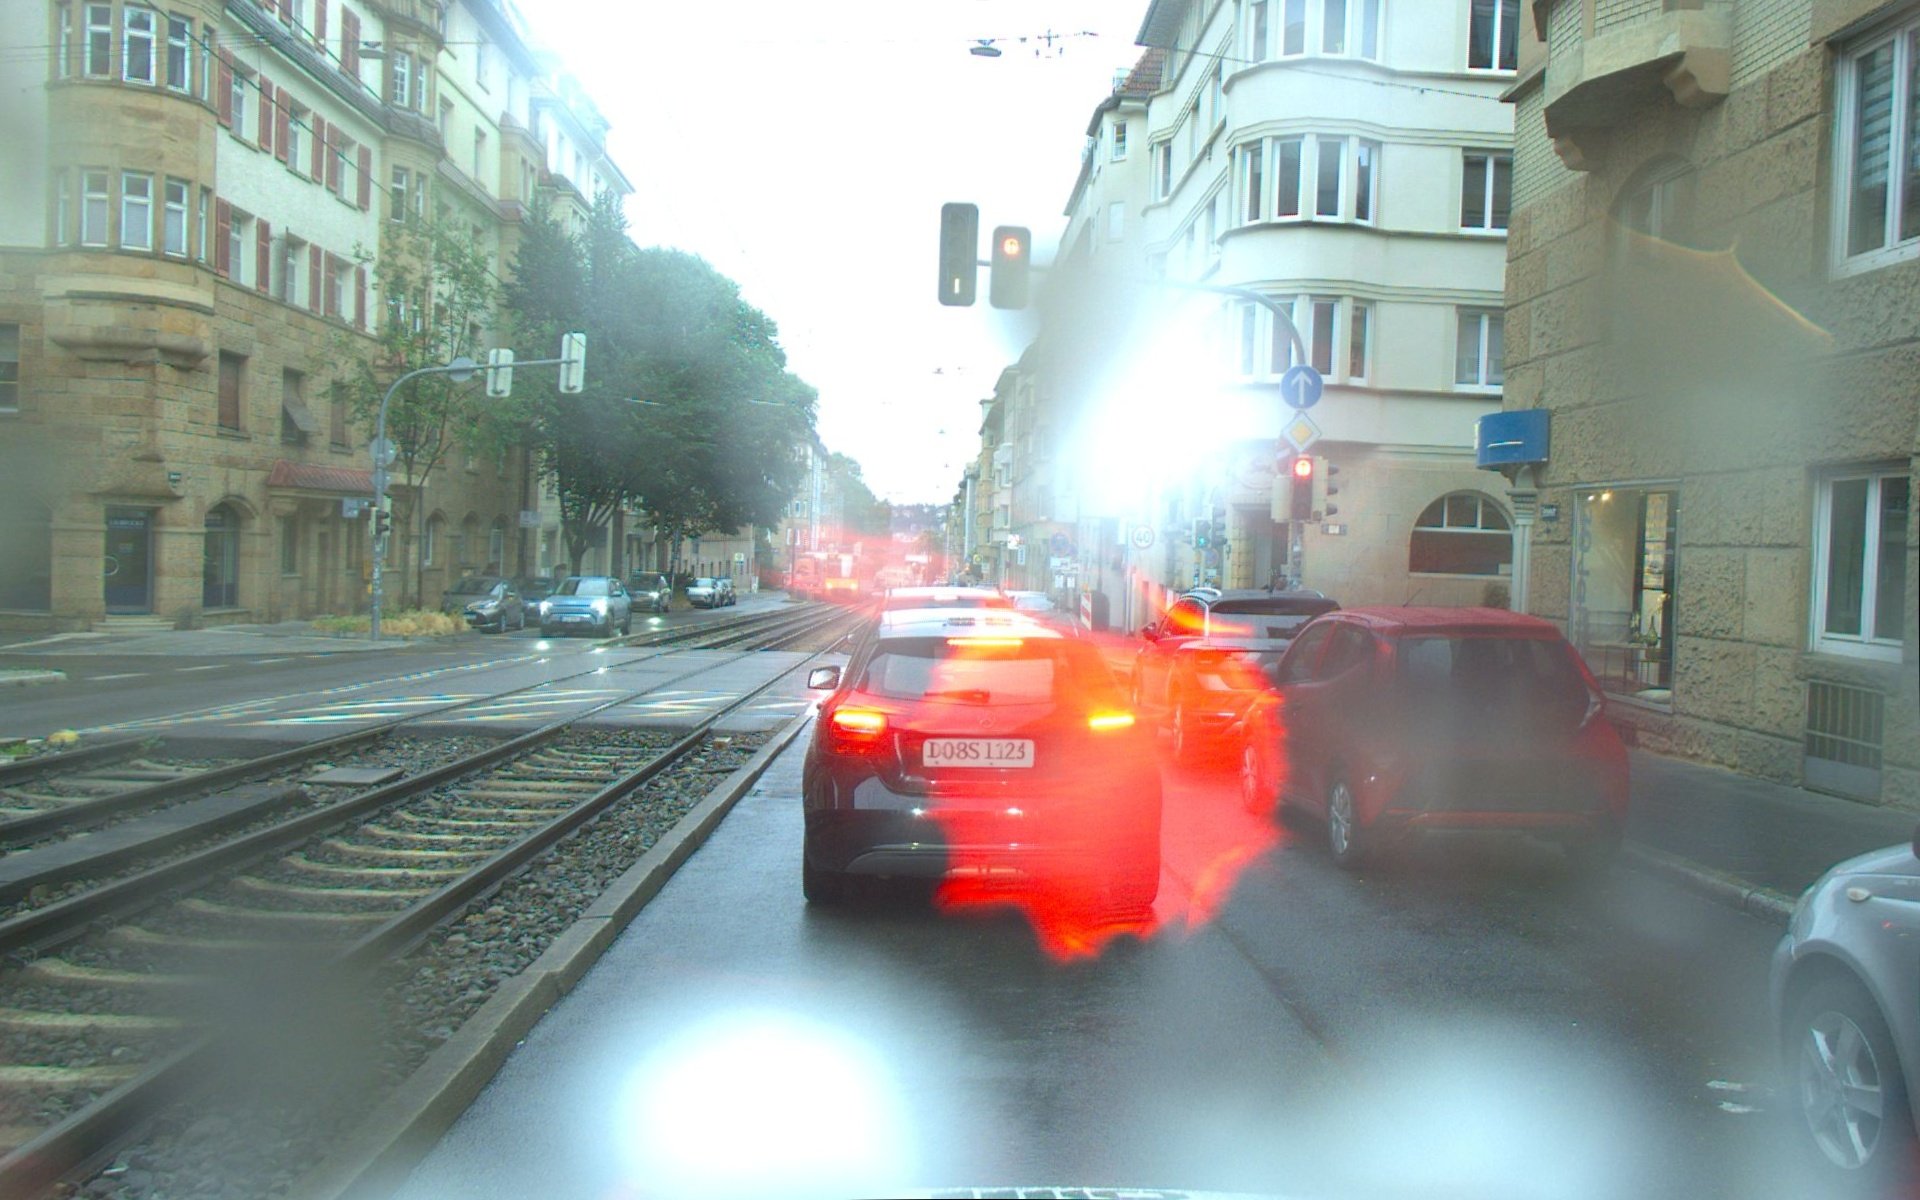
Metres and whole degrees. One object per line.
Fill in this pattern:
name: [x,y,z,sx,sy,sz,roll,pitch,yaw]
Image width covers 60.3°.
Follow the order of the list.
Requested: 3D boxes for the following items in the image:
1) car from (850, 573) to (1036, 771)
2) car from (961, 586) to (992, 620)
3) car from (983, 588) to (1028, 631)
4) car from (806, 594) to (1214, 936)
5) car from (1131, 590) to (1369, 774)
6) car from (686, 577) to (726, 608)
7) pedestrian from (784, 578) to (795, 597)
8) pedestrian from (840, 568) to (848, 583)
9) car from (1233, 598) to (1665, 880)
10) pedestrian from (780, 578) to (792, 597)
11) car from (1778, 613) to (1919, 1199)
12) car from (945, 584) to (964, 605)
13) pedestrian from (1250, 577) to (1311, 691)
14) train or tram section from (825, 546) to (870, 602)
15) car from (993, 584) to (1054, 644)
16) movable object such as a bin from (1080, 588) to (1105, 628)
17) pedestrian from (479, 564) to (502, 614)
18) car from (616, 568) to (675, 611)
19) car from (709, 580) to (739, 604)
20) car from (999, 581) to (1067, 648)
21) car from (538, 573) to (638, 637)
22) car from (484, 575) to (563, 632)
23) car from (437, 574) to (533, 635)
car: [-0.172,0.617,15.815,1.533,1.637,3.813,1,0,-1]
car: [0.726,0.131,73.586,1.268,1.467,2.928,1,0,-1]
car: [1.666,0.326,61.529,1.513,1.512,3.547,1,0,-1]
car: [0.195,0.733,9.431,1.792,1.483,4.103,1,0,-1]
car: [2.634,0.678,15.776,1.513,1.512,3.829,1,0,-1]
car: [-13.654,-0.391,88.946,1.557,1.608,3.917,1,0,-1]
pedestrian: [-18.126,-1.341,175.895,1.031,1.992,1.043,2,0,0]
pedestrian: [-15.862,-3.407,226.393,1.031,1.992,1.043,2,0,0]
car: [2.910,0.750,10.541,1.609,1.473,3.297,1,0,-3]
pedestrian: [-18.375,-1.354,174.691,1.031,1.992,1.043,2,0,0]
car: [3.128,0.790,3.081,1.581,1.493,3.312,0,0,0]
car: [-0.431,-0.461,139.523,1.513,1.664,3.686,1,0,0]
pedestrian: [5.141,0.536,26.562,0.726,1.778,1.111,1,-1,-1]
train or tram section: [-8.339,-1.835,123.342,2.726,3.928,10.427,1,0,-1]
car: [1.772,0.377,47.120,1.513,1.618,3.547,1,0,-1]
movable object such as a bin: [4.766,0.304,59.624,0.859,1.413,0.983,1,-1,3]
pedestrian: [-16.274,-0.374,57.368,0.619,1.702,0.702,1,-1,-6]
car: [-13.559,-0.420,71.485,1.837,1.767,3.917,1,0,-1]
car: [-14.022,-0.447,98.351,1.419,1.354,3.270,1,0,-3]
car: [1.842,0.351,42.646,1.513,1.618,3.547,1,0,-1]
car: [-10.044,0.138,44.906,1.860,1.615,3.972,1,0,-1]
car: [-13.273,0.102,50.502,1.683,1.639,3.914,1,0,-5]
car: [-13.009,0.120,45.475,1.718,1.579,4.032,1,0,-4]
